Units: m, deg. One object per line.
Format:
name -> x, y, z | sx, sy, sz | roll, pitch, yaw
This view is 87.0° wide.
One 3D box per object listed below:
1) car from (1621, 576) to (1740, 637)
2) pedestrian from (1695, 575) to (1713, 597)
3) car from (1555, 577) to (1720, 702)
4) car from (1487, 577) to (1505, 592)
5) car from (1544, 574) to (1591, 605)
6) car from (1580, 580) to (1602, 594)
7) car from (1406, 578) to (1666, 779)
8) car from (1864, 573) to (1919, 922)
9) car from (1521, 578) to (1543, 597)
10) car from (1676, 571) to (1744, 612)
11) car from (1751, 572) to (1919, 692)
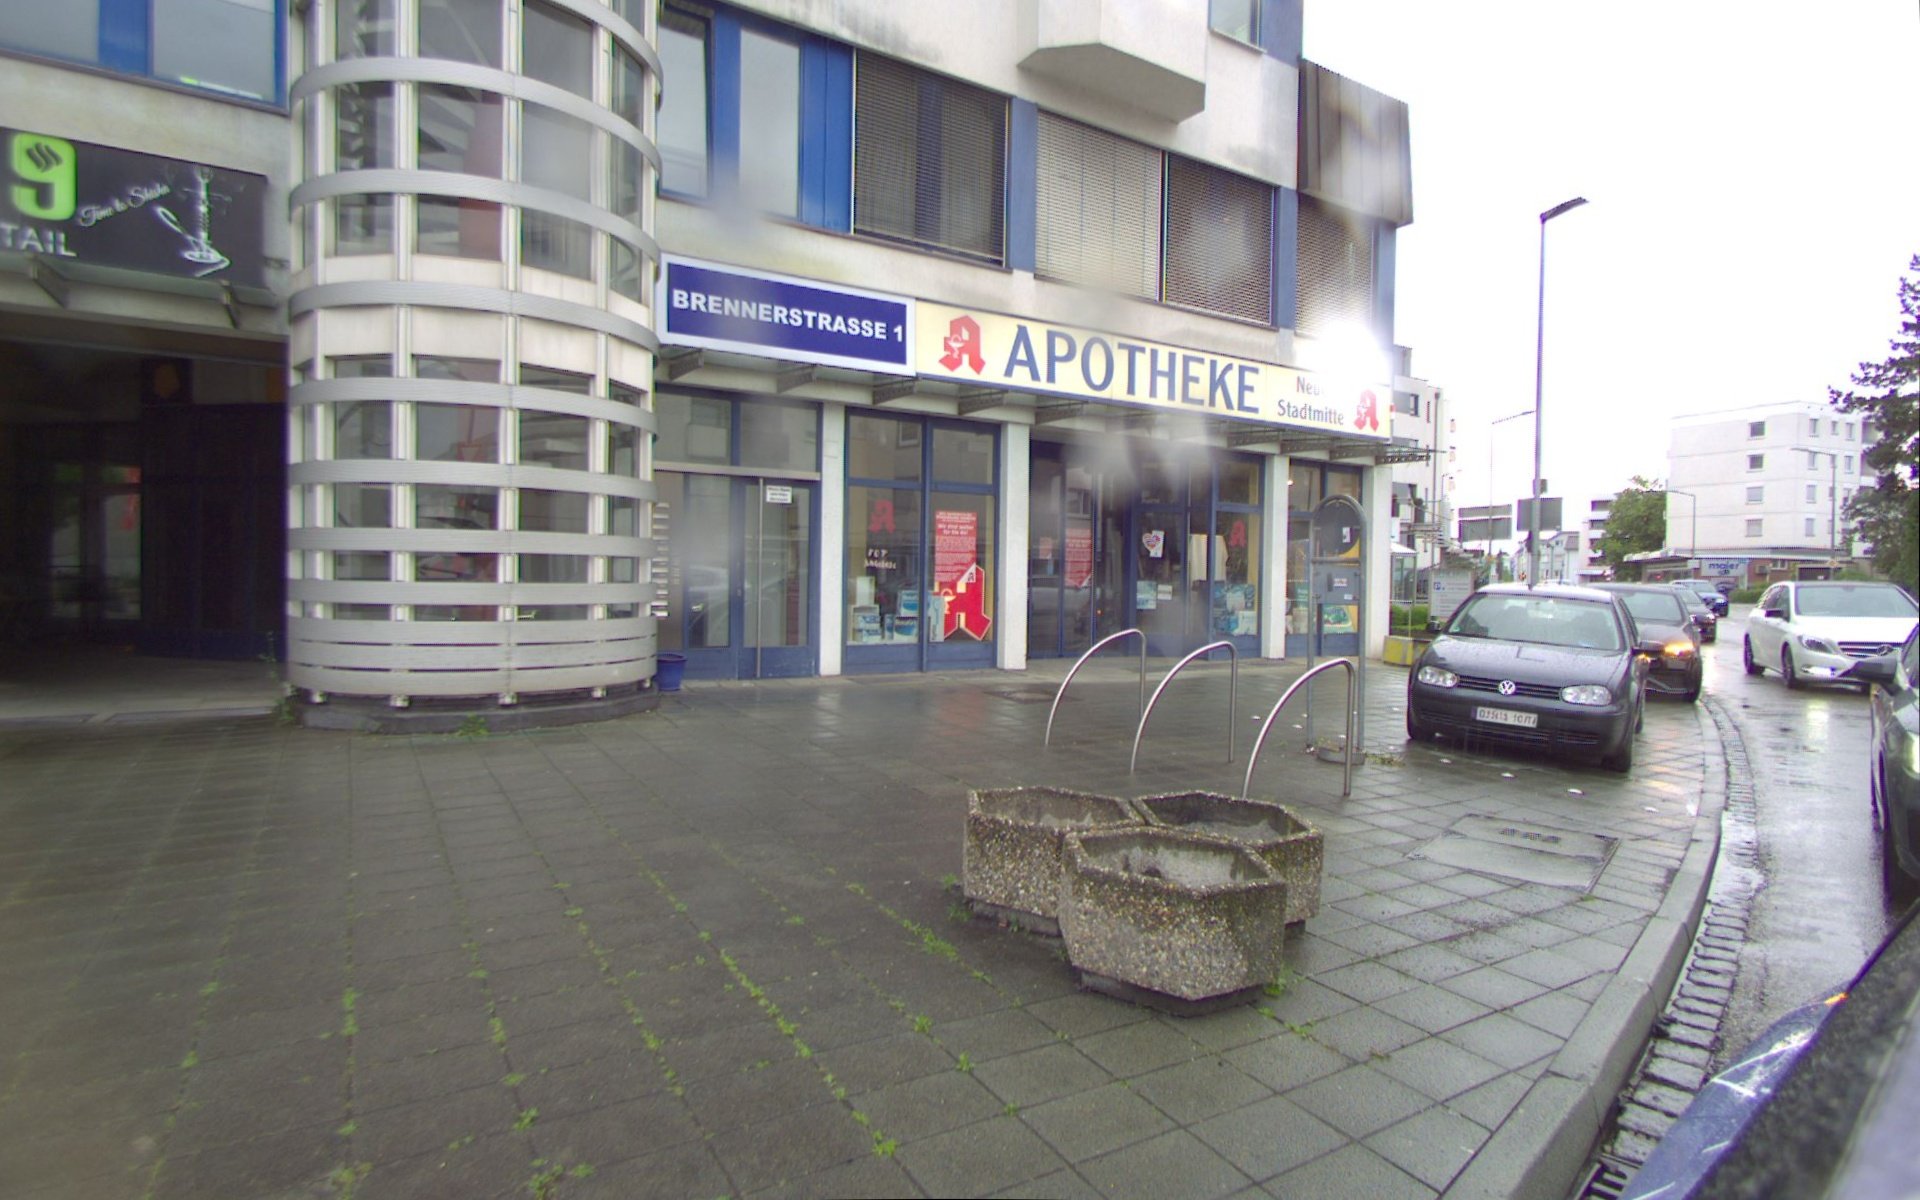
car -> 18.827, 0.117, 26.615 | 1.783, 1.385, 3.941 | 1, 3, 25
pedestrian -> 58.662, -1.116, 79.783 | 0.845, 1.757, 0.831 | 1, 2, 20
car -> 9.431, 0.420, 14.027 | 1.650, 1.442, 3.949 | 2, 2, 36
car -> 62.697, -1.871, 118.440 | 1.729, 1.660, 3.963 | 1, 2, 27
car -> 32.722, -0.579, 54.578 | 1.982, 1.635, 3.960 | -1, 1, 29
car -> 72.803, -1.508, 116.857 | 1.855, 1.454, 3.704 | 1, 2, 28
car -> 5.470, 0.534, 9.393 | 1.646, 1.388, 3.683 | 5, 4, 36
car -> 6.015, 0.608, 5.332 | 1.728, 1.462, 3.989 | 1, 2, 40
car -> 52.888, -1.164, 93.561 | 1.730, 1.660, 3.959 | 1, 2, 30
car -> 29.561, -0.374, 39.993 | 1.737, 1.472, 3.773 | 2, 3, 31
car -> 13.219, 0.393, 15.062 | 1.721, 1.547, 4.019 | 2, 1, 30
